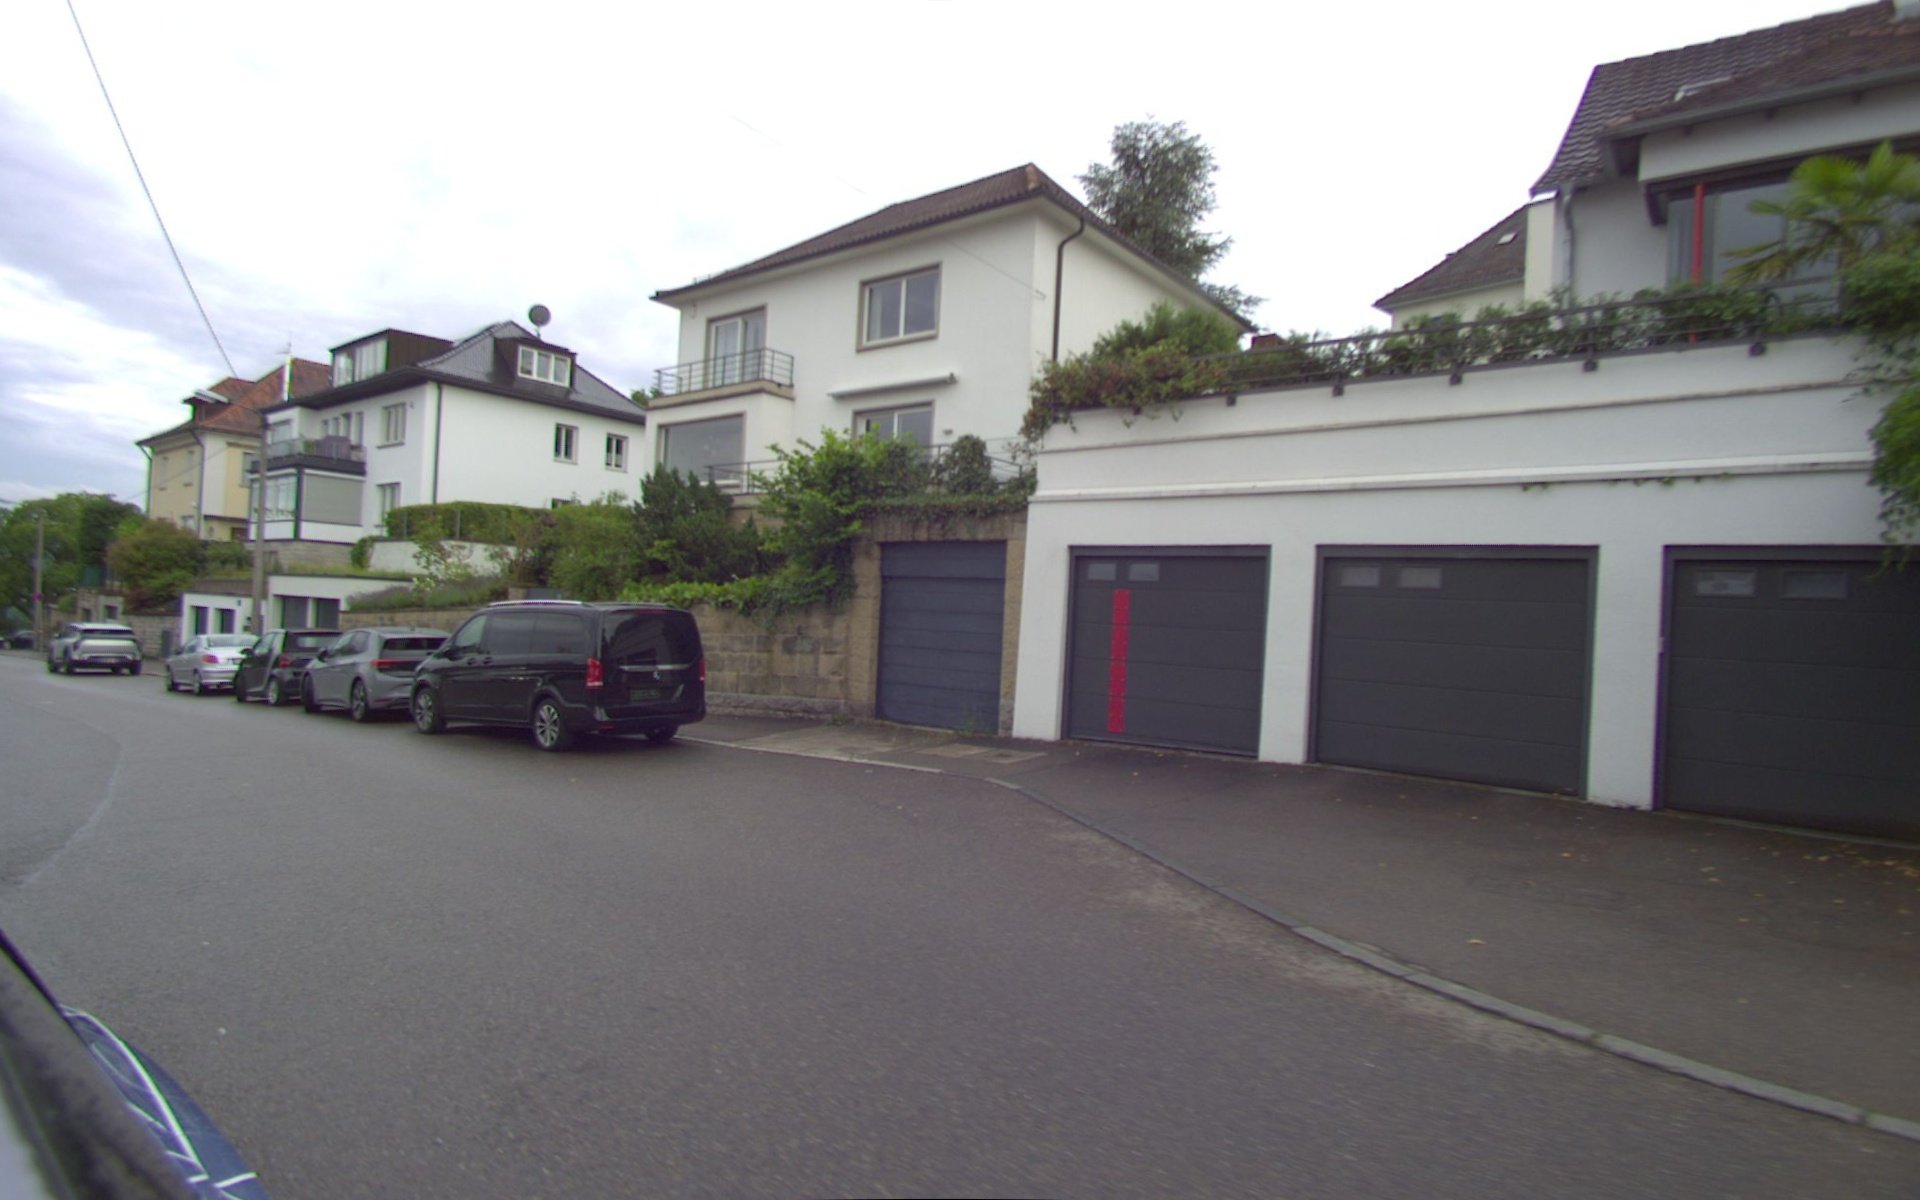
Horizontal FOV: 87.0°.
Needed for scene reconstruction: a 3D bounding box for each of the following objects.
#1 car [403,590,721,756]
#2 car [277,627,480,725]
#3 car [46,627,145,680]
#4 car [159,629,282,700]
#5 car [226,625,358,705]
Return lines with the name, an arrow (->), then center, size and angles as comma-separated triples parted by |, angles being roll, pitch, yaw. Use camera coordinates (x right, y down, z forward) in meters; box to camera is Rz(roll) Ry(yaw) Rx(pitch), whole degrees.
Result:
car -> -5.704, 0.905, 14.237 | 4.766, 1.972, 1.975 | -1, -1, 37
car -> -10.374, 1.246, 17.908 | 4.398, 1.502, 1.675 | -1, -1, 39
car -> -27.217, 1.636, 31.807 | 3.999, 1.512, 1.844 | -1, -2, 42
car -> -17.353, 1.460, 23.711 | 3.434, 1.502, 1.574 | -1, -1, 40
car -> -13.784, 1.278, 20.851 | 2.891, 1.502, 1.503 | -1, -1, 39
